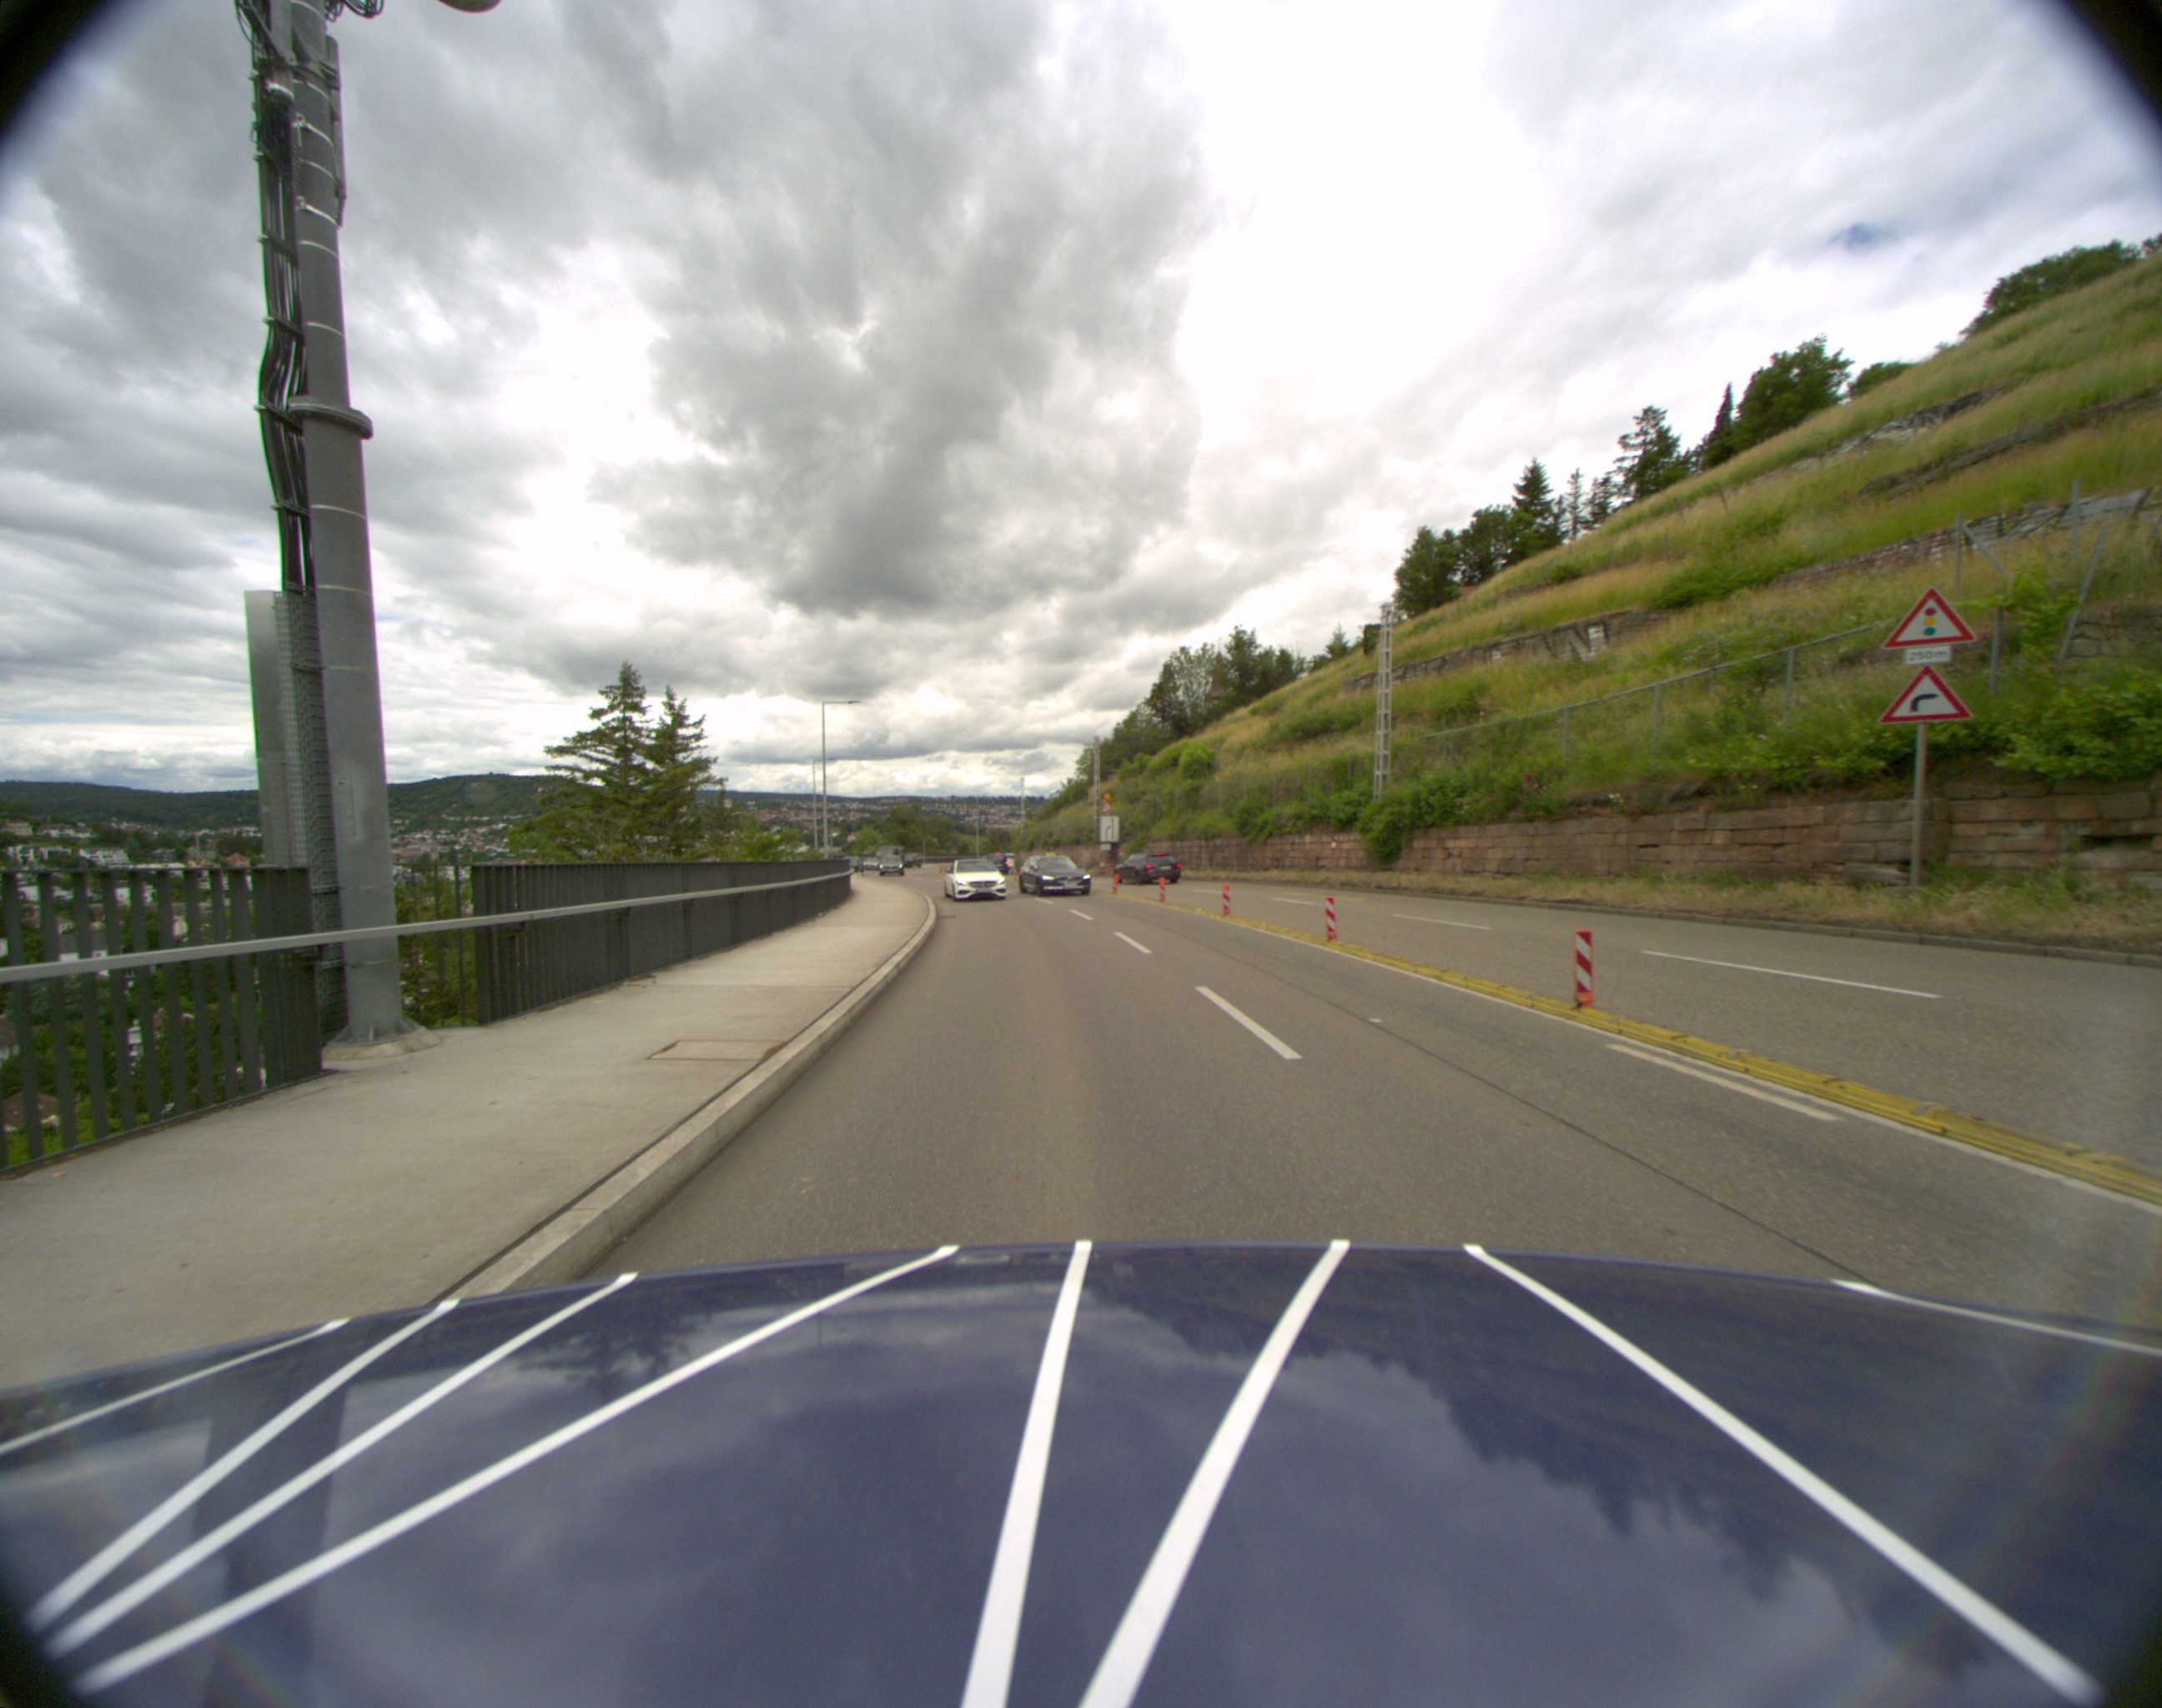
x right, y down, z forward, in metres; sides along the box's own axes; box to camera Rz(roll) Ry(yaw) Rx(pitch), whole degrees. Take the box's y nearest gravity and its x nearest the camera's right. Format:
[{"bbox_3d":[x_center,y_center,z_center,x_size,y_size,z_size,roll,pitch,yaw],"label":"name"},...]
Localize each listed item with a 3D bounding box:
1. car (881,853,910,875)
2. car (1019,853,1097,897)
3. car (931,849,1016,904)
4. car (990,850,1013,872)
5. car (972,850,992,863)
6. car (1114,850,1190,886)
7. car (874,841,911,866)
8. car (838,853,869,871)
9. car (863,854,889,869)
[{"bbox_3d":[-15.129,0.761,61.966,2.001,1.661,4.531,-1,0,-17],"label":"car"},{"bbox_3d":[-0.966,0.754,28.448,1.903,1.485,4.136,-2,0,-16],"label":"car"},{"bbox_3d":[-3.938,0.758,27.214,2.002,1.708,3.992,-2,0,-23],"label":"car"},{"bbox_3d":[-6.973,0.546,66.512,1.856,1.772,4.730,-3,1,-7],"label":"car"},{"bbox_3d":[-13.667,0.313,104.988,1.998,1.661,4.538,-1,0,2],"label":"car"},{"bbox_3d":[3.086,0.581,34.165,1.858,1.405,4.409,-4,1,-16],"label":"car"},{"bbox_3d":[-20.521,-0.046,83.158,2.171,2.507,5.772,3,1,4],"label":"car"},{"bbox_3d":[-20.167,0.671,67.571,1.880,1.534,4.087,0,1,-6],"label":"car"},{"bbox_3d":[-20.755,0.731,77.090,1.719,1.423,3.848,1,1,-4],"label":"car"}]
